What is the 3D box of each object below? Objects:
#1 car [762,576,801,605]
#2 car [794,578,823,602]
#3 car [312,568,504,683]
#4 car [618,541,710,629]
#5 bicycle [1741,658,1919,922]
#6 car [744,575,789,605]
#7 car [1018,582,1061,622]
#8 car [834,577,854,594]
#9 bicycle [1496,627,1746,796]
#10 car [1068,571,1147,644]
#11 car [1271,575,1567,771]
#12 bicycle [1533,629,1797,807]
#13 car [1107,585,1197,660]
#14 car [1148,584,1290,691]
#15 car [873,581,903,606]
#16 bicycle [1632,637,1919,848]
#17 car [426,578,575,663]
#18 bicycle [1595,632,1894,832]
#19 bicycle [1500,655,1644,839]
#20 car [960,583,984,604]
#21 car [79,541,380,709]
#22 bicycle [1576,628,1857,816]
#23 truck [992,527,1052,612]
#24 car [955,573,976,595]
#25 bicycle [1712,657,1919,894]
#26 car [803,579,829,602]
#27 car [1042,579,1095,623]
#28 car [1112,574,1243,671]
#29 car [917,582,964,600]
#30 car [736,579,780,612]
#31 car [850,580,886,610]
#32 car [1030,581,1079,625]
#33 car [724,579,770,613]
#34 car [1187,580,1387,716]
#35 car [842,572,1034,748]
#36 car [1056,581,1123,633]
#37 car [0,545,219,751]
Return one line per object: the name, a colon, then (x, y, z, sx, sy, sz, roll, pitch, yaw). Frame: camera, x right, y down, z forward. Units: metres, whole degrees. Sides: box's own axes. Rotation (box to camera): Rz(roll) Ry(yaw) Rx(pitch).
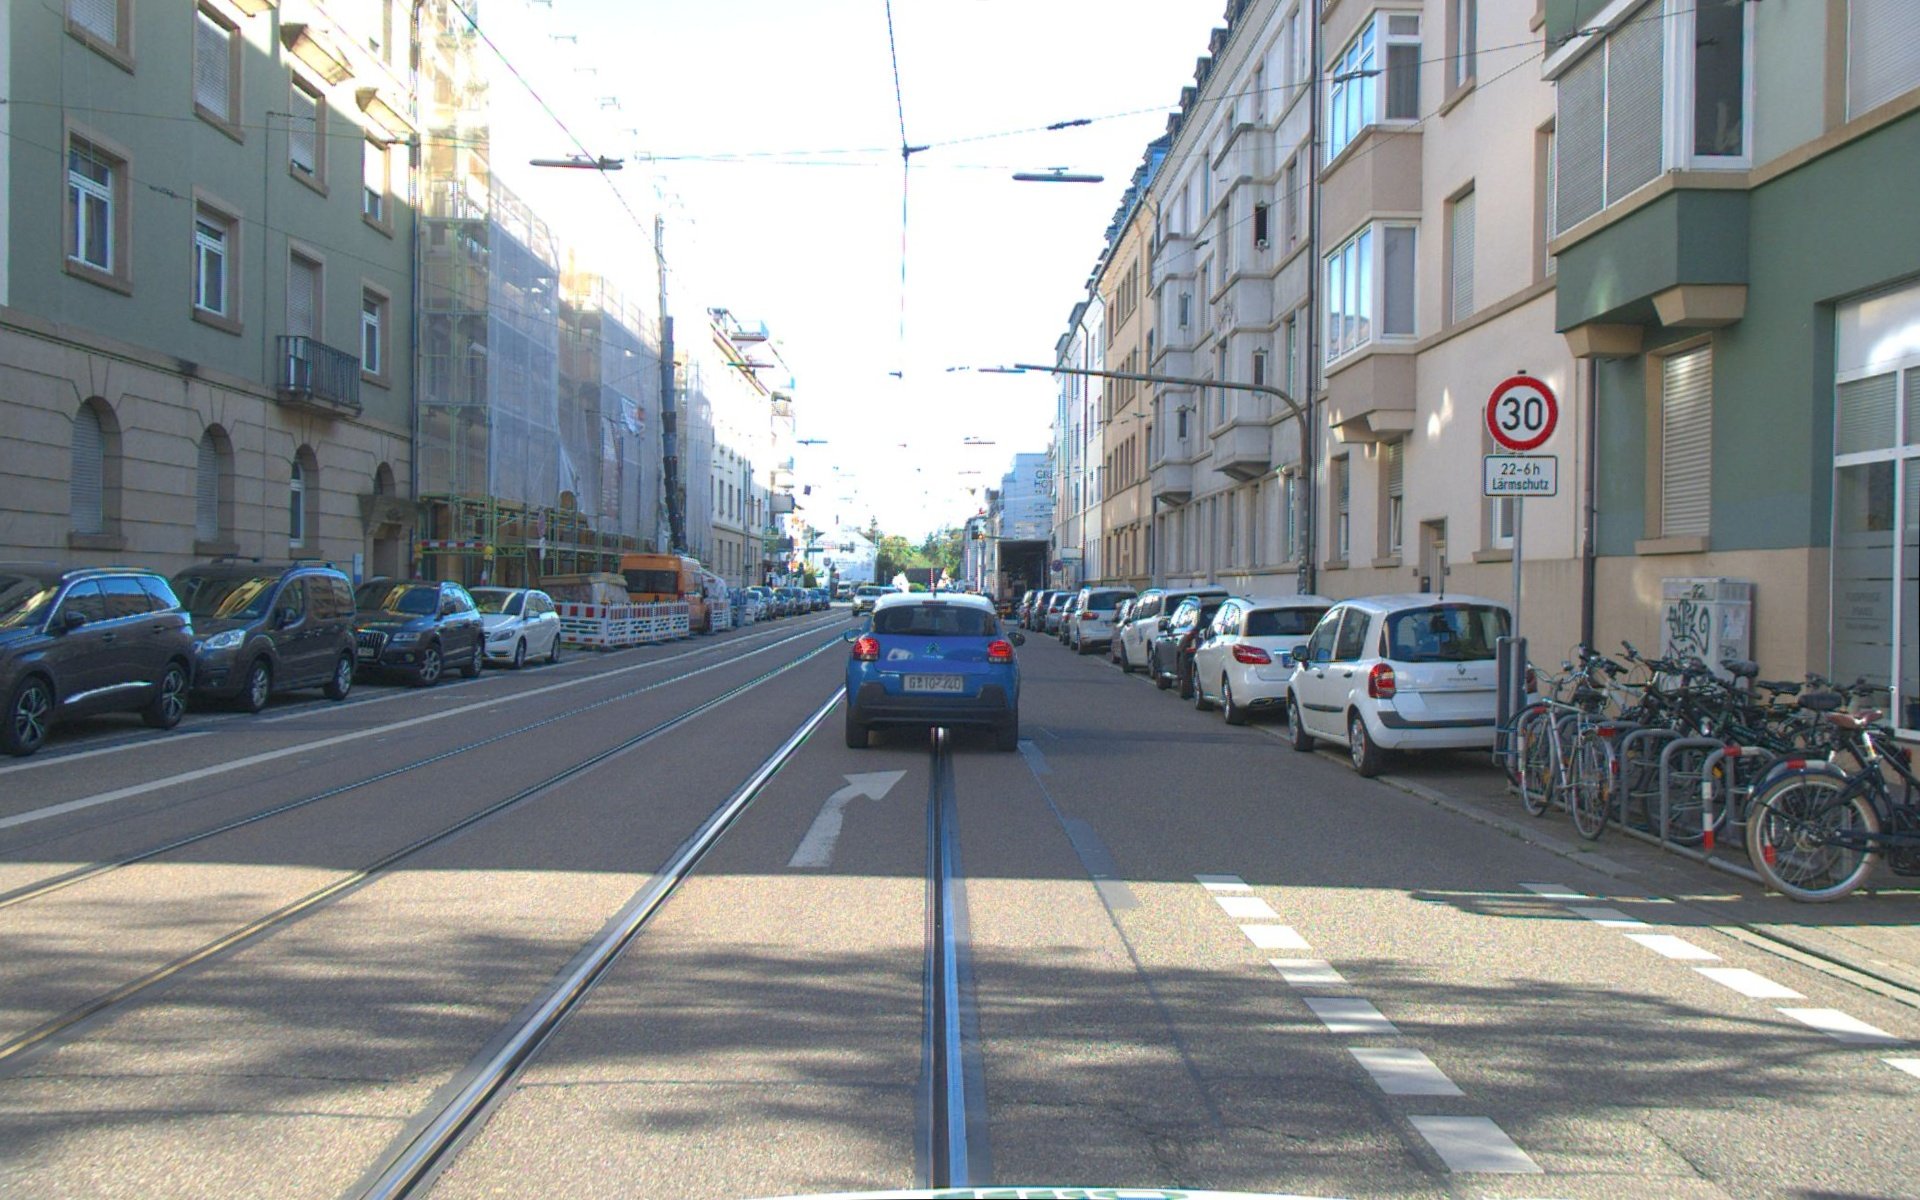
car: (-10.443, -0.571, 97.249, 1.788, 1.660, 4.848, 0, 1, 0)
car: (-10.739, -0.742, 117.317, 1.789, 1.660, 3.904, 0, 1, -1)
car: (-8.991, 0.351, 27.336, 1.748, 1.655, 4.607, 3, 1, -3)
car: (-9.059, -0.472, 51.072, 2.101, 2.518, 4.978, 1, 1, -3)
bicycle: (5.130, 0.894, 8.252, 2.044, 1.174, 0.848, -2, 1, -1)
car: (-10.655, -0.576, 91.470, 2.101, 1.650, 3.999, 0, 1, -1)
car: (3.421, 0.071, 71.292, 1.630, 1.661, 3.871, 0, 1, 0)
car: (-12.051, -1.505, 172.213, 1.863, 1.660, 4.266, 0, 1, 0)
bicycle: (5.044, 0.844, 12.668, 1.687, 1.174, 0.469, -3, 1, -1)
car: (3.947, 0.173, 44.951, 1.695, 1.859, 4.686, 0, 1, 0)
car: (4.305, 0.607, 16.150, 1.747, 1.660, 4.000, 0, 1, 0)
bicycle: (5.116, 0.845, 12.042, 1.687, 1.174, 0.469, -3, 1, -1)
car: (4.275, 0.472, 37.302, 1.581, 1.588, 3.600, 0, 1, 0)
car: (4.161, 0.548, 27.155, 1.621, 1.594, 4.338, 0, 1, 0)
car: (-4.949, -0.476, 113.885, 1.863, 1.660, 4.266, 0, 1, 0)
bicycle: (5.099, 0.863, 10.193, 1.687, 1.174, 0.469, -3, 1, -1)
car: (-9.171, 0.357, 33.371, 1.683, 1.528, 4.388, 3, 1, 1)
bicycle: (5.075, 0.842, 10.740, 1.687, 1.174, 0.469, -3, 1, -1)
bicycle: (4.107, 0.951, 11.205, 0.345, 1.063, 1.728, 1, 1, 1)
car: (0.865, -0.478, 120.360, 1.729, 1.512, 4.031, 0, 1, 0)
car: (-9.156, 0.258, 21.196, 1.747, 1.847, 4.528, 3, 1, 0)
bicycle: (5.204, 0.827, 11.422, 1.687, 1.174, 0.469, -3, 1, -1)
truck: (3.149, -1.539, 86.981, 2.794, 4.154, 11.271, 0, 1, 0)
car: (0.617, -1.755, 179.262, 2.174, 2.324, 4.083, 0, 1, -1)
bicycle: (5.101, 0.917, 8.956, 1.805, 1.174, 0.469, -3, 1, -1)
car: (-10.694, -0.735, 123.295, 1.789, 1.660, 3.903, 0, 1, -3)
car: (3.927, 0.006, 60.435, 1.630, 1.546, 4.221, 0, 1, 0)
car: (4.225, 0.385, 32.833, 1.622, 1.782, 4.598, 0, 1, -5)
car: (-1.677, -0.752, 141.673, 3.939, 1.512, 1.759, 0, 0, -5)
car: (-10.154, -0.240, 83.361, 1.679, 1.621, 4.266, 0, 1, 0)
car: (-5.230, -0.300, 94.576, 1.788, 1.660, 4.490, 0, 1, 0)
car: (3.696, 0.096, 65.276, 1.630, 1.675, 4.221, 0, 1, 0)
car: (-10.145, -0.197, 79.024, 1.679, 1.544, 4.047, 0, 1, 0)
car: (4.191, 0.553, 21.860, 1.747, 1.603, 4.326, 0, 1, 0)
car: (-0.219, 0.525, 17.199, 1.700, 1.533, 3.992, 3, 1, -1)
car: (3.921, 0.186, 50.721, 1.687, 1.512, 4.221, 0, 1, 0)
car: (-9.052, 0.347, 16.033, 1.748, 1.720, 4.665, 3, 1, -3)
